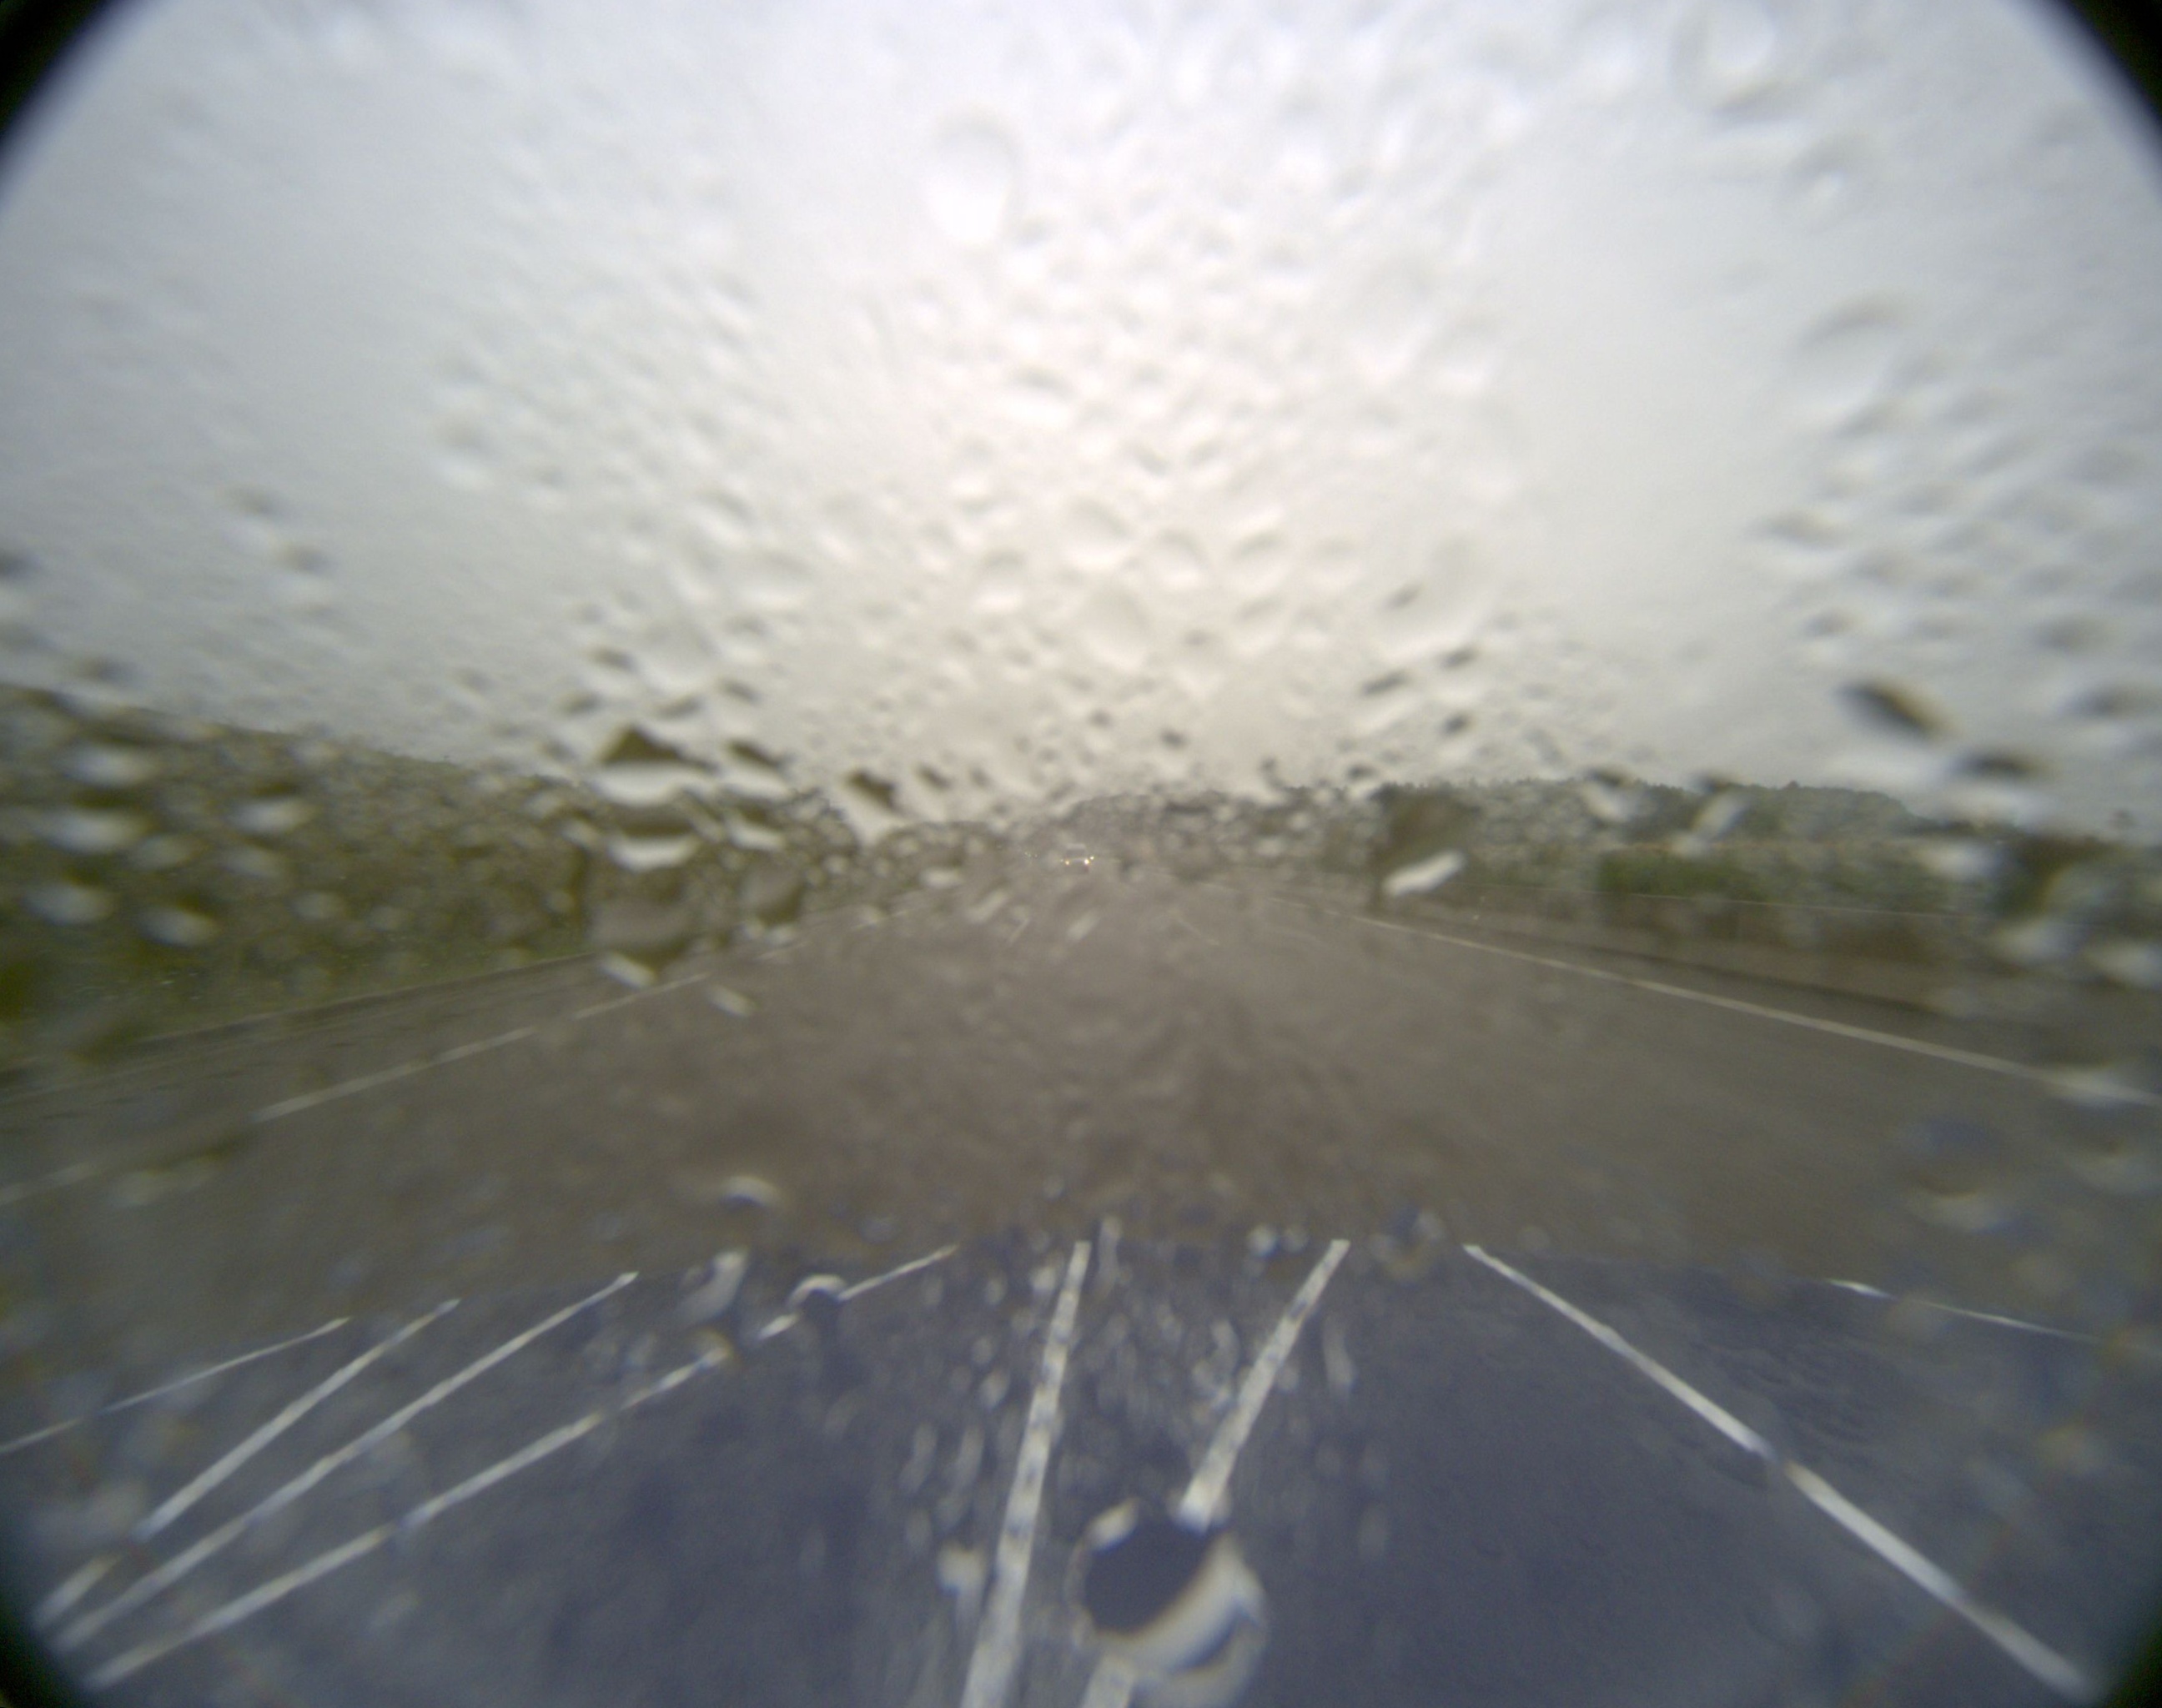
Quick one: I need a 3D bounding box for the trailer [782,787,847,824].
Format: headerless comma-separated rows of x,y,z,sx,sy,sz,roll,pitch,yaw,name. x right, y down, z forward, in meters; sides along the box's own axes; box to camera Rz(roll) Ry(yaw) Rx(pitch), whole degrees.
-23.554,-4.211,67.693,2.302,2.740,9.404,-2,1,0,trailer

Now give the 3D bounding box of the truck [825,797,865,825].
-24.079,-4.386,77.752,2.431,2.553,5.079,-2,1,-1,truck

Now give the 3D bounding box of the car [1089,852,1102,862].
2.393,0.550,126.169,1.999,1.608,3.999,-1,0,-2,car

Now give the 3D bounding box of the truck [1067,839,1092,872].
-0.208,0.095,67.774,1.999,2.699,7.998,-2,1,-1,truck

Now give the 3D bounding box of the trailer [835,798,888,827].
-24.227,-4.469,84.637,2.388,2.589,12.960,-2,1,-1,trailer

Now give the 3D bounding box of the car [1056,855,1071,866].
-2.731,1.007,117.904,1.999,1.521,3.998,-1,0,-4,car

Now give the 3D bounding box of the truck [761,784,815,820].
-23.578,-4.128,61.457,2.372,2.589,5.061,-2,1,-1,truck

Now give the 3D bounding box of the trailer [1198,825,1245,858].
18.379,-1.615,100.688,3.394,3.995,13.886,-2,0,-1,trailer
